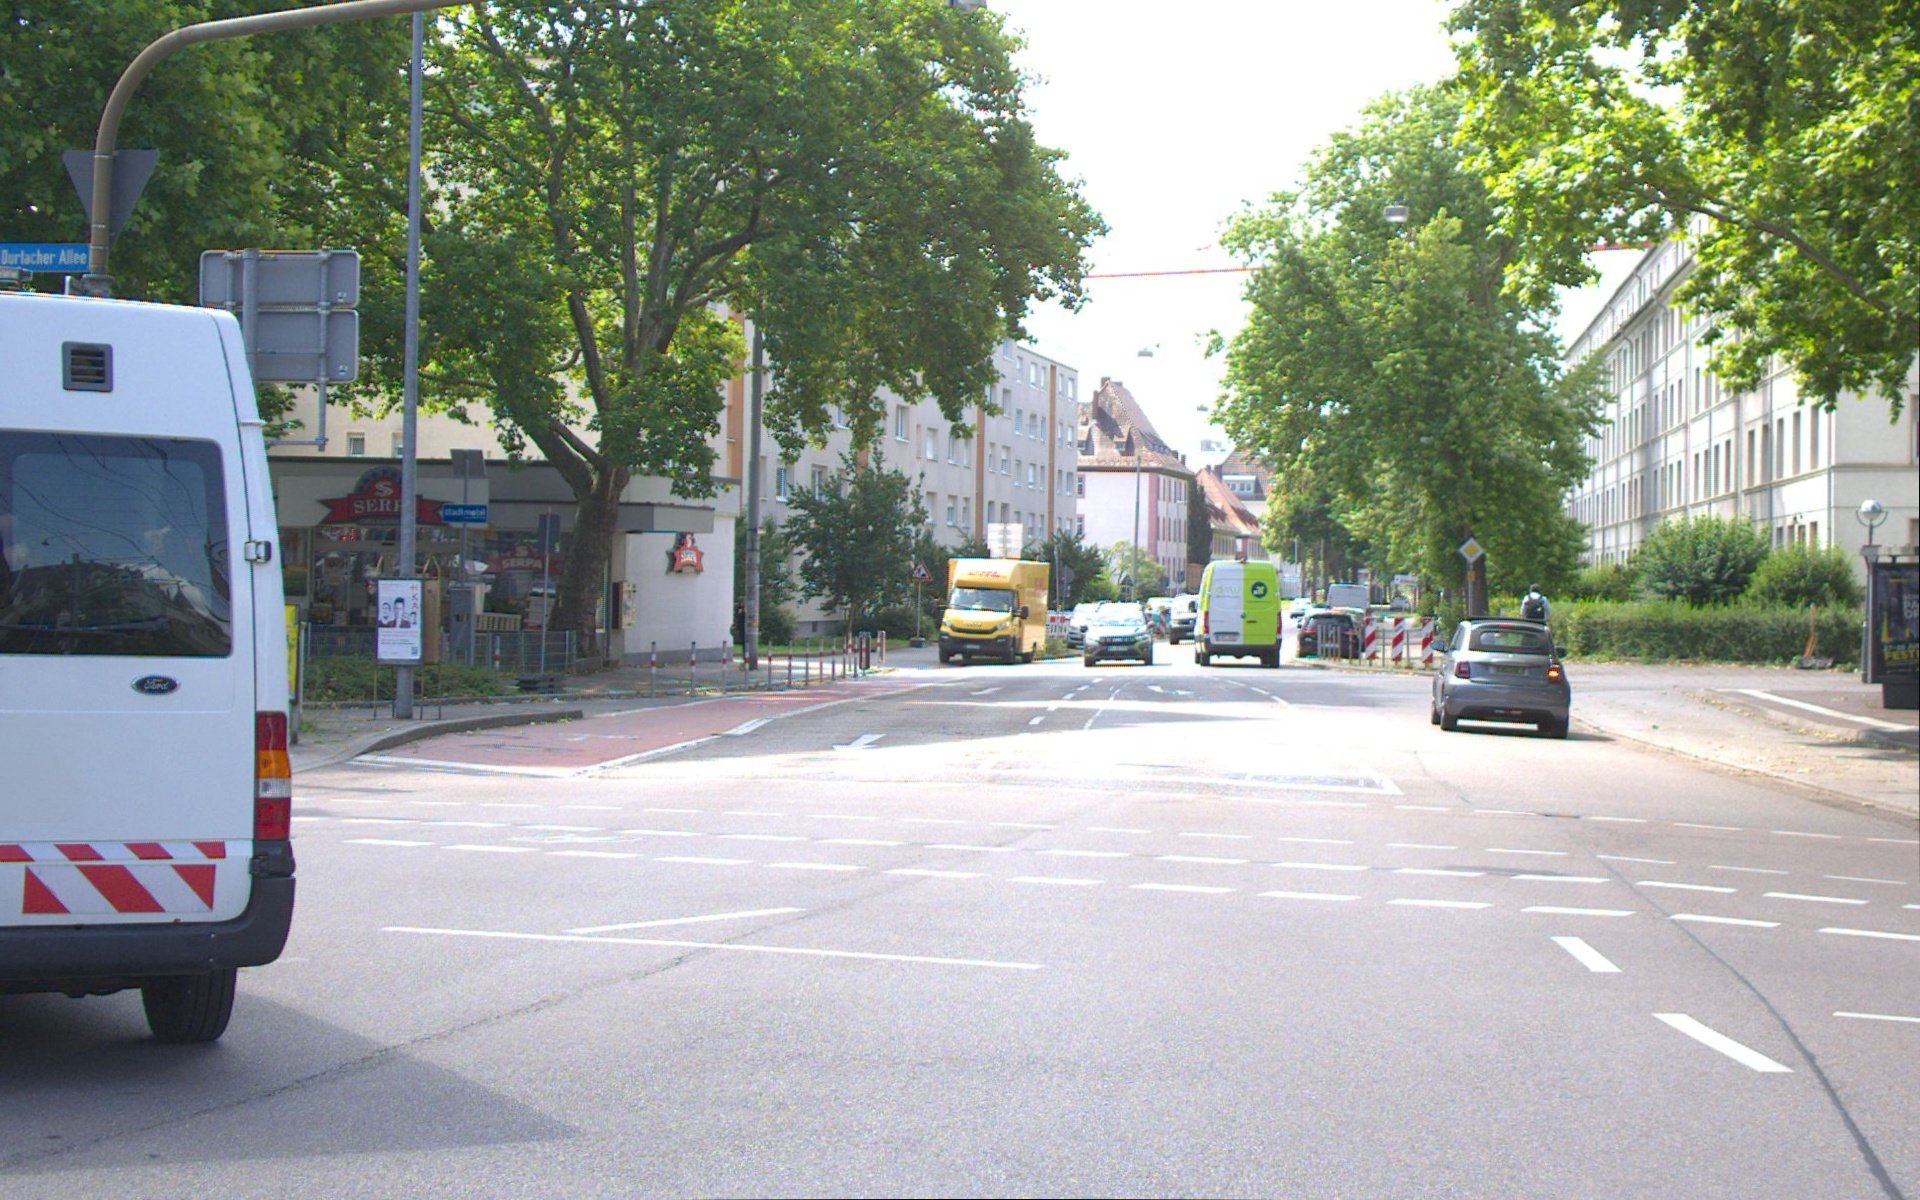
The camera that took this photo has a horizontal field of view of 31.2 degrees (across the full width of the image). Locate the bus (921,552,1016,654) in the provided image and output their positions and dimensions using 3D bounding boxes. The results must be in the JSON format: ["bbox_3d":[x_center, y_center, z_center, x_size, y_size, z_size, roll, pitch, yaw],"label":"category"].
[{"bbox_3d":[0.274,0.070,95.014,2.394,2.700,6.370,1,0,2],"label":"bus"}]

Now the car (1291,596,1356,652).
[{"bbox_3d":[10.523,0.681,99.712,1.725,1.549,3.633,1,0,4],"label":"car"}]

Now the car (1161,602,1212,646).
[{"bbox_3d":[9.179,0.957,139.035,1.862,1.655,3.748,1,1,7],"label":"car"}]

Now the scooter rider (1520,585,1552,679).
[{"bbox_3d":[11.239,0.621,67.092,0.526,1.806,0.649,1,0,3],"label":"scooter rider"}]

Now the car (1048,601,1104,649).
[{"bbox_3d":[4.246,0.900,125.662,1.729,1.655,3.748,1,1,7],"label":"car"}]

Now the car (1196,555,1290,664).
[{"bbox_3d":[7.239,0.197,87.343,2.120,2.632,6.326,1,1,7],"label":"car"}]

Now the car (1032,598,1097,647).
[{"bbox_3d":[3.416,0.716,112.176,1.846,1.557,3.999,1,0,5],"label":"car"}]

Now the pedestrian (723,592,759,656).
[{"bbox_3d":[-5.128,0.548,80.423,0.669,1.474,0.575,2,0,12],"label":"pedestrian"}]

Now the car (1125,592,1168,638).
[{"bbox_3d":[8.213,0.643,151.127,1.653,1.925,3.748,1,1,7],"label":"car"}]

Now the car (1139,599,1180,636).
[{"bbox_3d":[9.253,0.787,159.153,1.660,1.655,3.748,1,1,7],"label":"car"}]

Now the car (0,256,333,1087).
[{"bbox_3d":[-3.861,0.163,11.659,2.047,2.325,4.715,0,1,-28],"label":"car"}]

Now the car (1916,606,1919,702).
[{"bbox_3d":[17.883,0.928,59.088,2.030,1.595,4.532,1,0,26],"label":"car"}]

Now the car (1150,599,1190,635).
[{"bbox_3d":[10.150,0.793,166.051,1.701,1.655,3.748,1,1,7],"label":"car"}]

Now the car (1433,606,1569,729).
[{"bbox_3d":[7.326,0.883,46.752,1.692,1.532,3.467,1,1,7],"label":"car"}]

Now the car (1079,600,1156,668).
[{"bbox_3d":[4.120,0.861,89.468,1.787,1.655,4.315,1,1,5],"label":"car"}]
